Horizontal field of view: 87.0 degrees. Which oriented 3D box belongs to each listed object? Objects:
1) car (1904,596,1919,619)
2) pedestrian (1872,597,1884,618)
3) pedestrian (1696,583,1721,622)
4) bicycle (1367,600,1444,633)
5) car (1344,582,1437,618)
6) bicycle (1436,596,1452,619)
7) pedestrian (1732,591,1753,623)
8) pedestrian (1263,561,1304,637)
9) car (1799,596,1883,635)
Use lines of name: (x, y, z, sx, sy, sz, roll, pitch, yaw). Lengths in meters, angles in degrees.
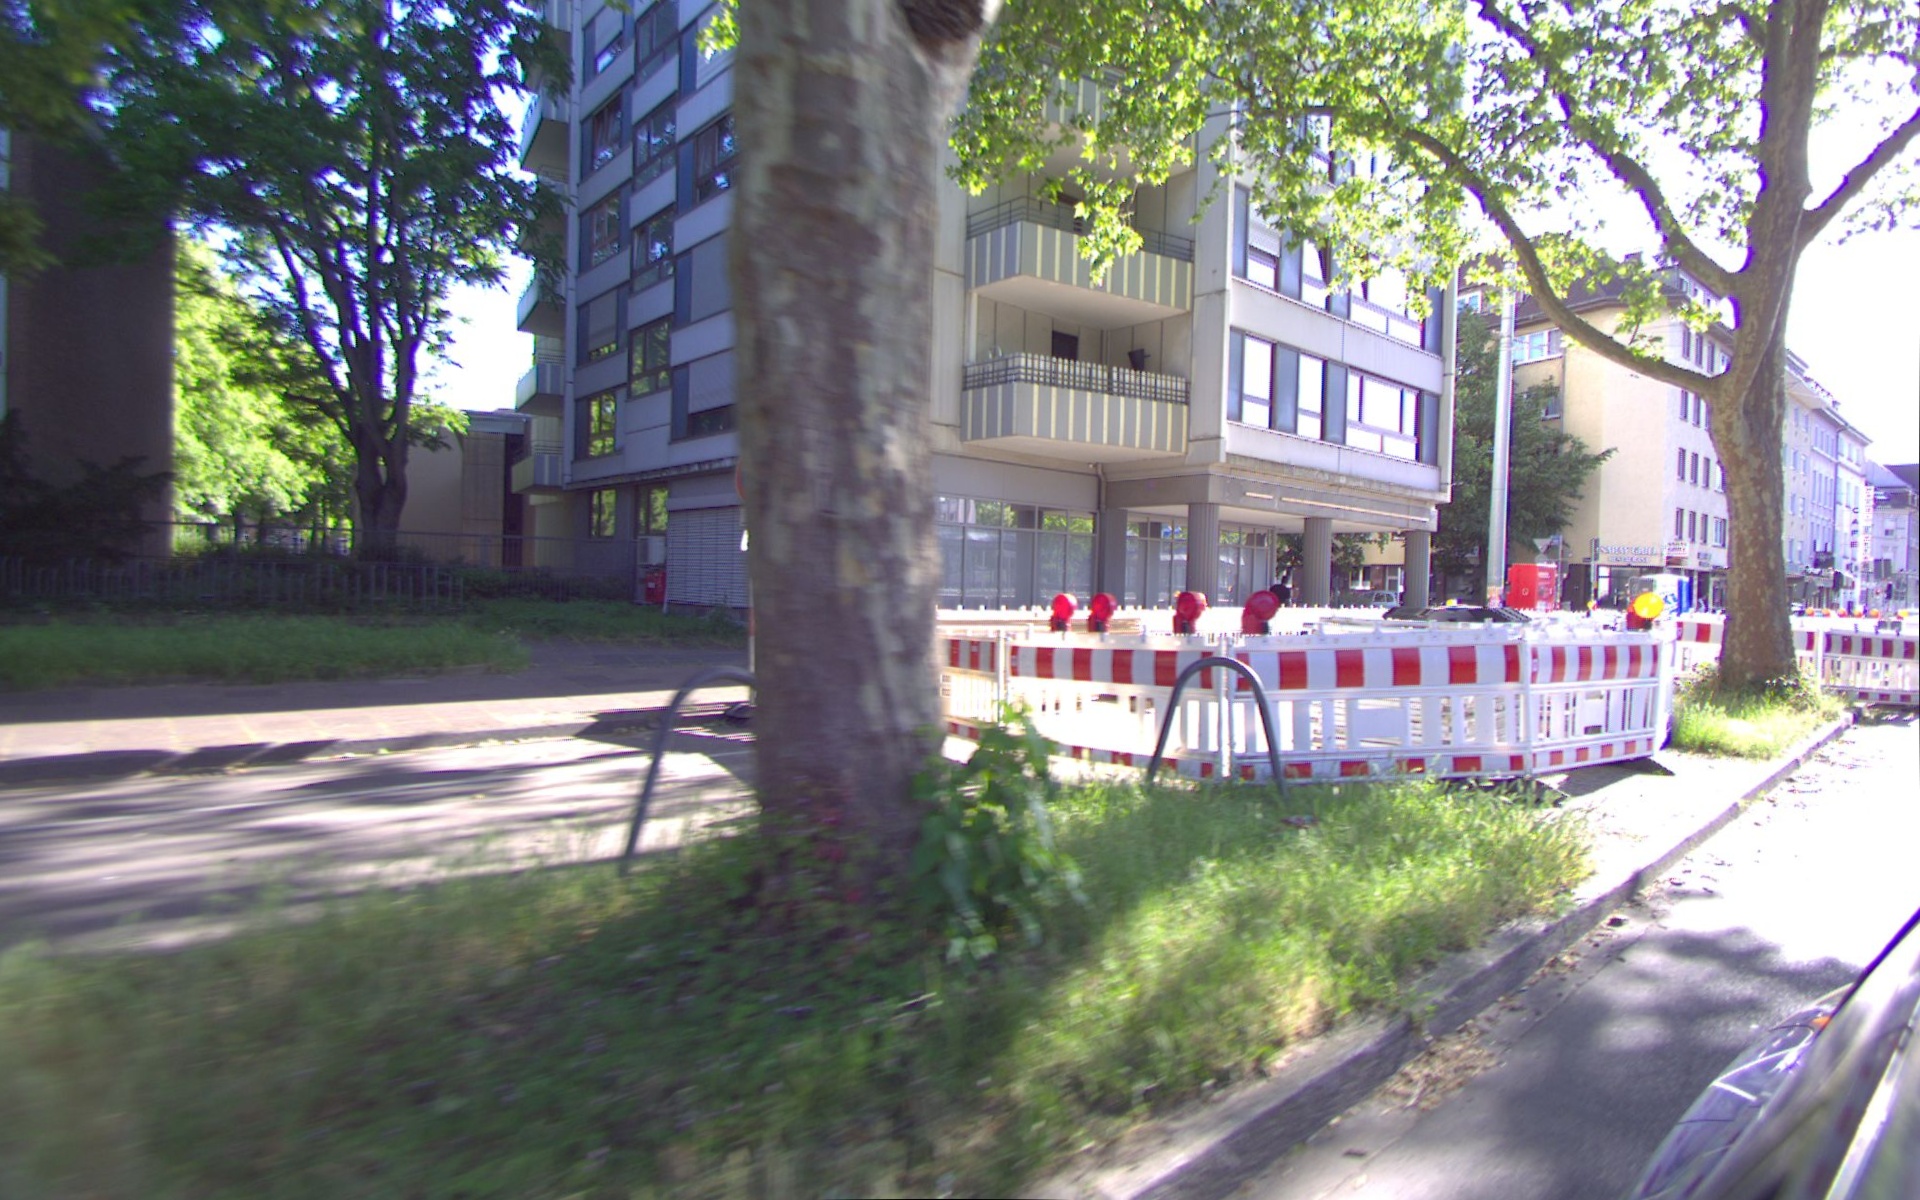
car: (63.724, 0.482, 66.703, 4.637, 1.448, 1.901, 0, 0, -43)
pedestrian: (74.412, 0.583, 82.021, 0.665, 1.711, 0.663, 0, 1, -41)
pedestrian: (36.191, 0.126, 48.924, 0.884, 1.877, 0.730, 0, 1, -38)
bicycle: (13.671, 0.488, 31.125, 0.996, 0.955, 2.039, 1, 1, -21)
car: (21.923, -0.020, 51.748, 1.958, 1.662, 4.257, 2, 1, -20)
bicycle: (23.136, 0.347, 48.378, 0.367, 1.096, 1.804, 1, 1, 35)
pedestrian: (37.433, 0.330, 48.427, 0.640, 1.525, 0.672, 0, 1, -41)
pedestrian: (7.972, -0.034, 24.931, 0.654, 1.838, 0.691, 0, 1, -41)
car: (36.331, 0.588, 41.699, 5.068, 1.461, 1.876, 0, 1, -40)
